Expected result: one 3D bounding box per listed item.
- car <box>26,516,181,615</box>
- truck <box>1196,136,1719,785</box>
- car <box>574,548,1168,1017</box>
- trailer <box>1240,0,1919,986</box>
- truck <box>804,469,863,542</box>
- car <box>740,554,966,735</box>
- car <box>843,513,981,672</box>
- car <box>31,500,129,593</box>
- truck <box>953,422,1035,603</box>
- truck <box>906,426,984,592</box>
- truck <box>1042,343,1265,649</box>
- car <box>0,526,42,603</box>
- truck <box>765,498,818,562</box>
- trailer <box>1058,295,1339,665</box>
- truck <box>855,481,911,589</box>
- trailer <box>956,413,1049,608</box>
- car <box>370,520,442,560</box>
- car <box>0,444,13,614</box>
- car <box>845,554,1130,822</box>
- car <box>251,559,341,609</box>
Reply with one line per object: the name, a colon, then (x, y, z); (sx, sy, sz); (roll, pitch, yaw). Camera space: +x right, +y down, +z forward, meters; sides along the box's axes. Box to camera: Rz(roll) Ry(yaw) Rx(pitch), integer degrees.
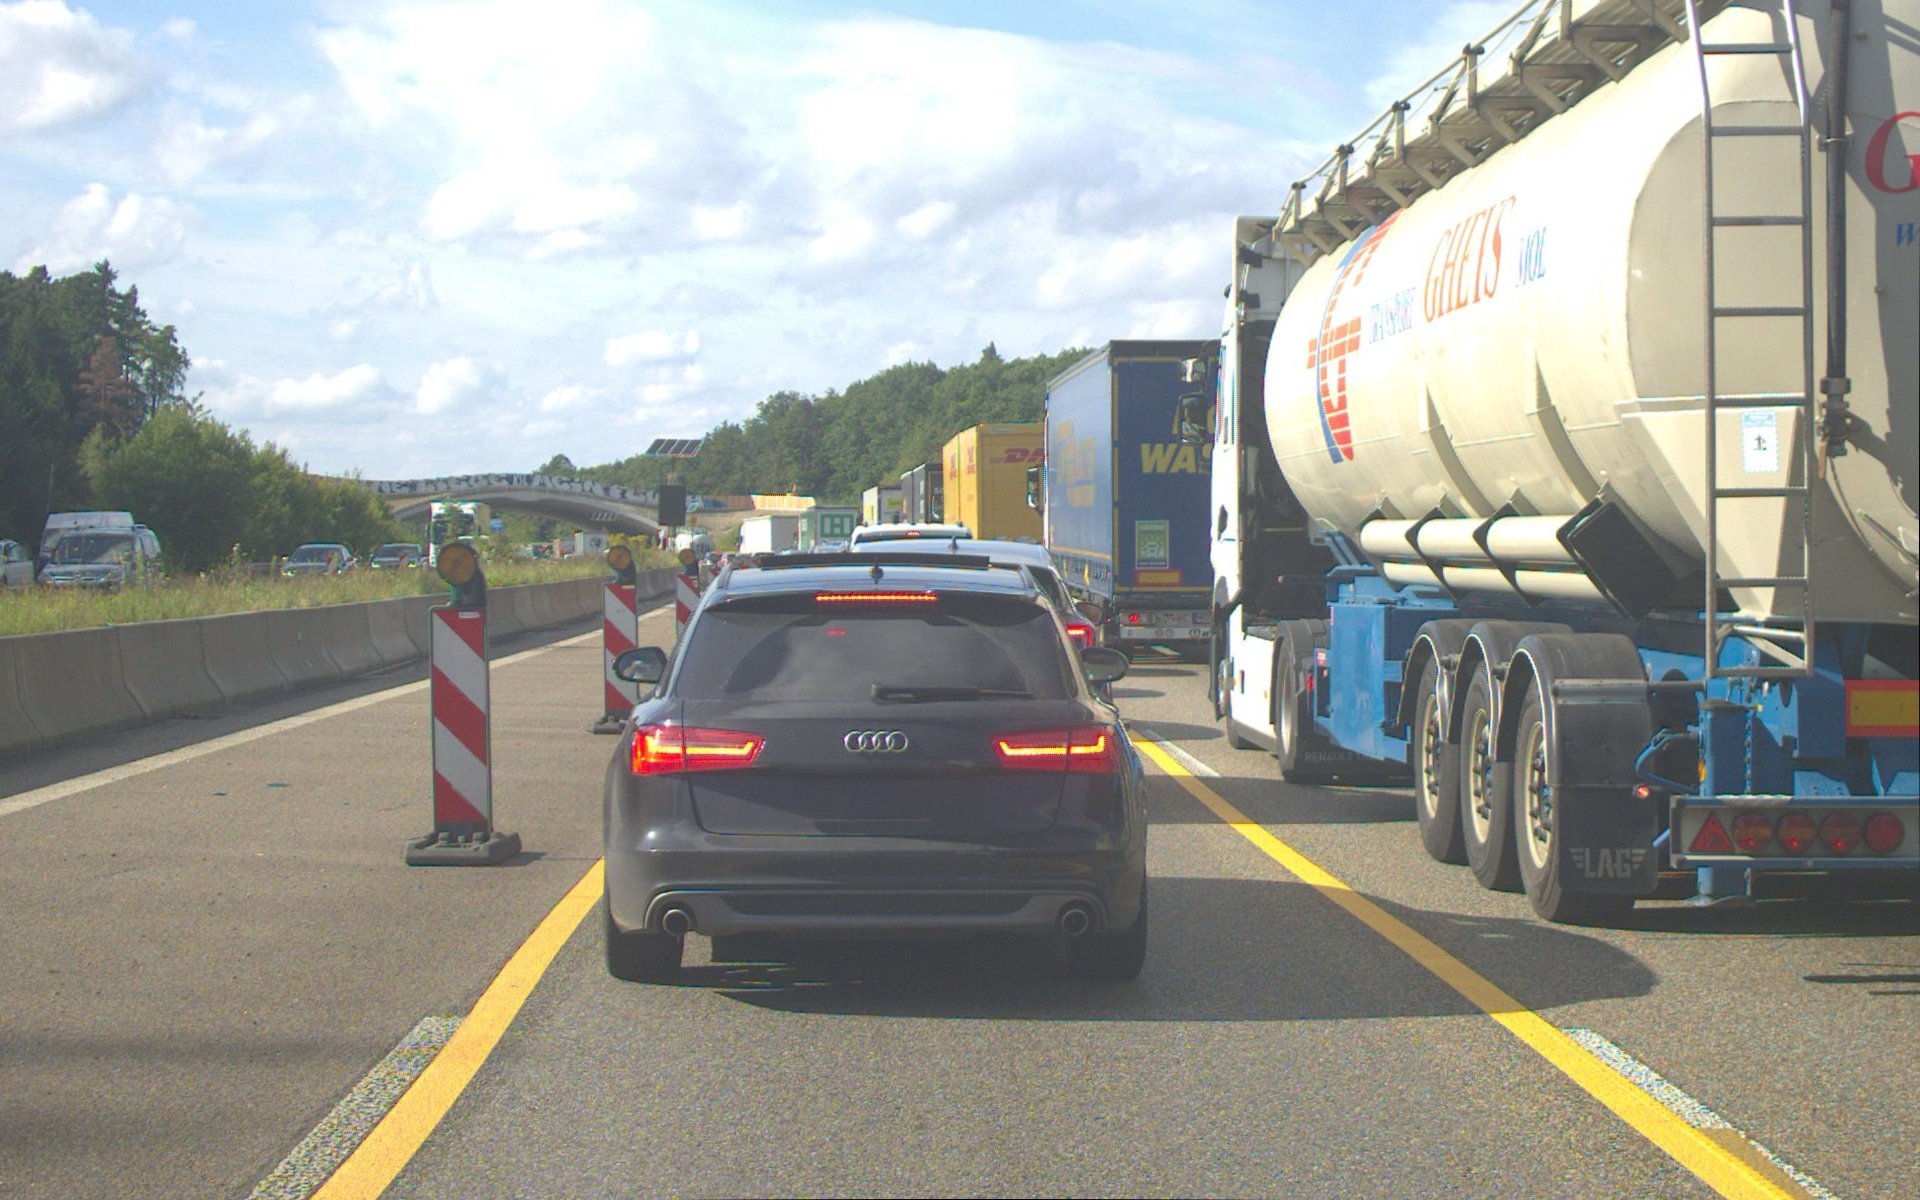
car: (-16.307, -0.656, 65.649); (1.944, 1.806, 4.119); (1, 0, -1)
truck: (3.271, -0.882, 24.127); (2.659, 3.958, 5.779); (1, 0, -1)
car: (-0.313, 0.557, 12.769); (1.848, 1.458, 4.000); (0, 0, -1)
trailer: (3.407, -0.796, 17.416); (2.644, 3.929, 12.598); (1, 1, -1)
truck: (-7.490, -5.503, 202.203); (3.303, 4.160, 9.703); (0, 1, -3)
car: (-0.868, 0.339, 28.802); (1.751, 1.392, 3.608); (1, 0, -1)
car: (-0.592, -0.100, 41.931); (1.581, 1.830, 3.112); (1, 0, -1)
car: (-26.038, -1.564, 101.819); (2.250, 2.634, 5.021); (1, 0, -8)
truck: (0.733, -1.913, 76.460); (1.609, 3.883, 4.072); (1, 0, -2)
truck: (-0.516, -2.785, 106.710); (1.993, 4.897, 9.563); (1, 1, -2)
truck: (2.877, -1.519, 53.354); (2.806, 4.355, 7.792); (1, 0, -1)
car: (-26.064, -0.970, 91.962); (1.993, 2.007, 4.000); (1, 0, -1)
truck: (-11.444, -4.728, 232.704); (3.303, 4.160, 9.704); (1, 1, -4)
trailer: (3.017, -1.479, 46.526); (2.805, 4.398, 10.433); (1, 0, -1)
truck: (-3.119, -2.611, 139.703); (2.137, 4.243, 7.072); (1, 0, -1)
trailer: (0.851, -1.834, 72.762); (1.616, 3.905, 6.490); (1, 0, -2)
car: (-20.149, -2.178, 125.204); (1.958, 1.358, 4.288); (1, 0, -1)
car: (-20.104, -1.400, 64.956); (2.486, 3.358, 7.453); (1, 0, -1)
car: (0.123, 0.467, 20.336); (1.524, 1.434, 3.285); (1, 0, -1)
car: (-19.176, -0.467, 99.411); (1.779, 1.382, 4.310); (1, 0, -1)
